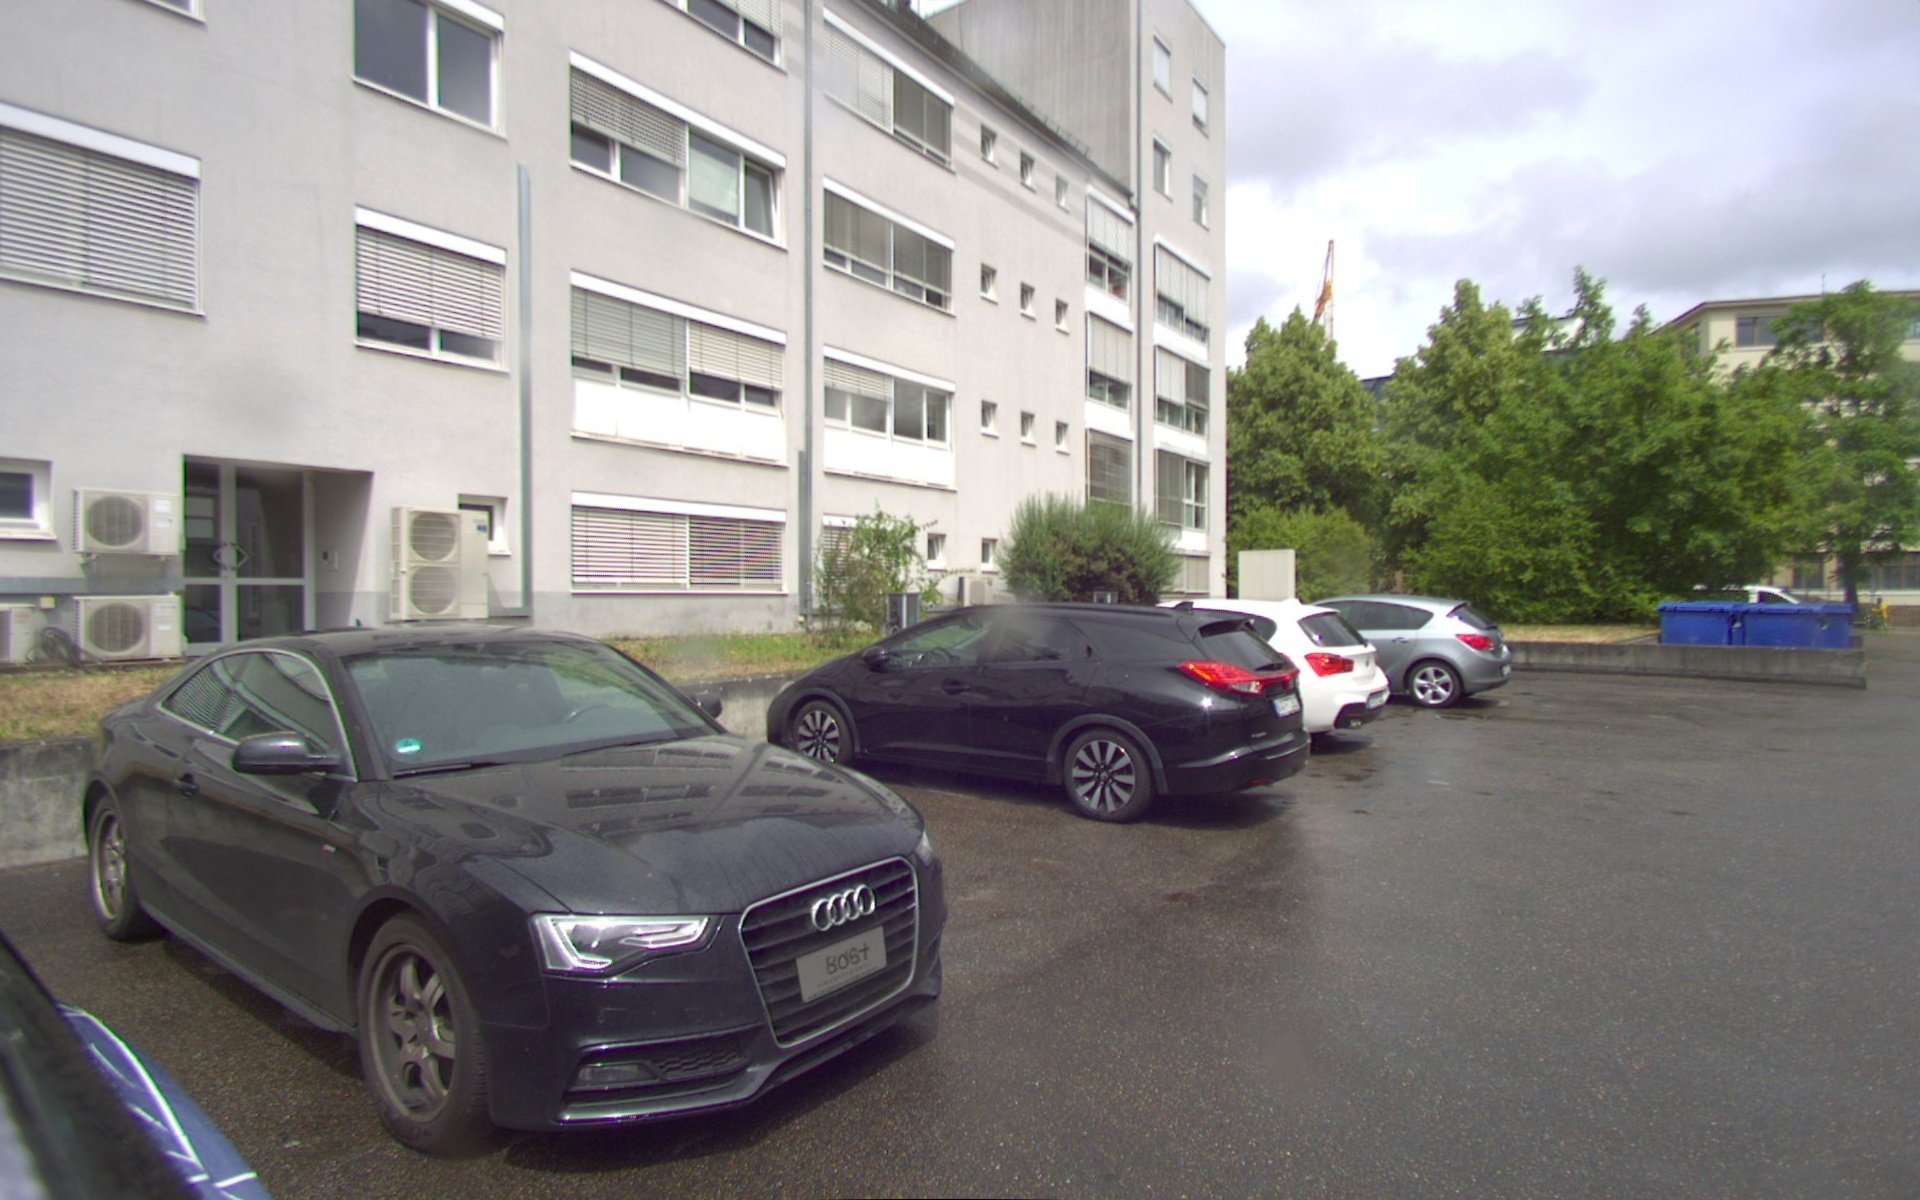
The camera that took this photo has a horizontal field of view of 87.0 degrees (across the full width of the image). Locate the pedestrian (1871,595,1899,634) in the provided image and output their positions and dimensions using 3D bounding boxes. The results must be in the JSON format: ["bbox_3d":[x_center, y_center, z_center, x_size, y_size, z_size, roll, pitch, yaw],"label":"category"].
[{"bbox_3d":[44.293,0.702,48.461,0.859,1.827,0.853,-1,0,37],"label":"pedestrian"}]

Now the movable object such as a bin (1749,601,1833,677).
[{"bbox_3d":[15.512,0.703,18.892,1.096,1.335,1.191,-1,0,44],"label":"movable object such as a bin"}]

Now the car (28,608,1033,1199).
[{"bbox_3d":[-2.070,0.768,4.136,4.521,1.362,1.741,1,1,36],"label":"car"}]

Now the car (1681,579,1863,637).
[{"bbox_3d":[25.823,0.252,32.291,1.697,1.740,4.338,-1,0,-43],"label":"car"}]

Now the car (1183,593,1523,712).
[{"bbox_3d":[5.596,0.644,14.650,4.306,1.453,1.742,1,1,35],"label":"car"}]

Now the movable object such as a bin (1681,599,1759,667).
[{"bbox_3d":[15.730,0.664,20.939,1.132,1.338,1.191,-1,0,44],"label":"movable object such as a bin"}]

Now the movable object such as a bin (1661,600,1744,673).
[{"bbox_3d":[14.529,0.690,19.802,1.132,1.338,1.191,-1,0,44],"label":"movable object such as a bin"}]

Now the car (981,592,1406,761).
[{"bbox_3d":[2.372,0.657,10.798,4.118,1.453,1.675,1,1,37],"label":"car"}]

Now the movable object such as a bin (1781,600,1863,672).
[{"bbox_3d":[16.977,0.681,19.926,1.132,1.338,1.191,-1,0,44],"label":"movable object such as a bin"}]

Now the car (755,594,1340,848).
[{"bbox_3d":[0.530,0.703,7.934,4.306,1.453,1.742,1,1,35],"label":"car"}]
